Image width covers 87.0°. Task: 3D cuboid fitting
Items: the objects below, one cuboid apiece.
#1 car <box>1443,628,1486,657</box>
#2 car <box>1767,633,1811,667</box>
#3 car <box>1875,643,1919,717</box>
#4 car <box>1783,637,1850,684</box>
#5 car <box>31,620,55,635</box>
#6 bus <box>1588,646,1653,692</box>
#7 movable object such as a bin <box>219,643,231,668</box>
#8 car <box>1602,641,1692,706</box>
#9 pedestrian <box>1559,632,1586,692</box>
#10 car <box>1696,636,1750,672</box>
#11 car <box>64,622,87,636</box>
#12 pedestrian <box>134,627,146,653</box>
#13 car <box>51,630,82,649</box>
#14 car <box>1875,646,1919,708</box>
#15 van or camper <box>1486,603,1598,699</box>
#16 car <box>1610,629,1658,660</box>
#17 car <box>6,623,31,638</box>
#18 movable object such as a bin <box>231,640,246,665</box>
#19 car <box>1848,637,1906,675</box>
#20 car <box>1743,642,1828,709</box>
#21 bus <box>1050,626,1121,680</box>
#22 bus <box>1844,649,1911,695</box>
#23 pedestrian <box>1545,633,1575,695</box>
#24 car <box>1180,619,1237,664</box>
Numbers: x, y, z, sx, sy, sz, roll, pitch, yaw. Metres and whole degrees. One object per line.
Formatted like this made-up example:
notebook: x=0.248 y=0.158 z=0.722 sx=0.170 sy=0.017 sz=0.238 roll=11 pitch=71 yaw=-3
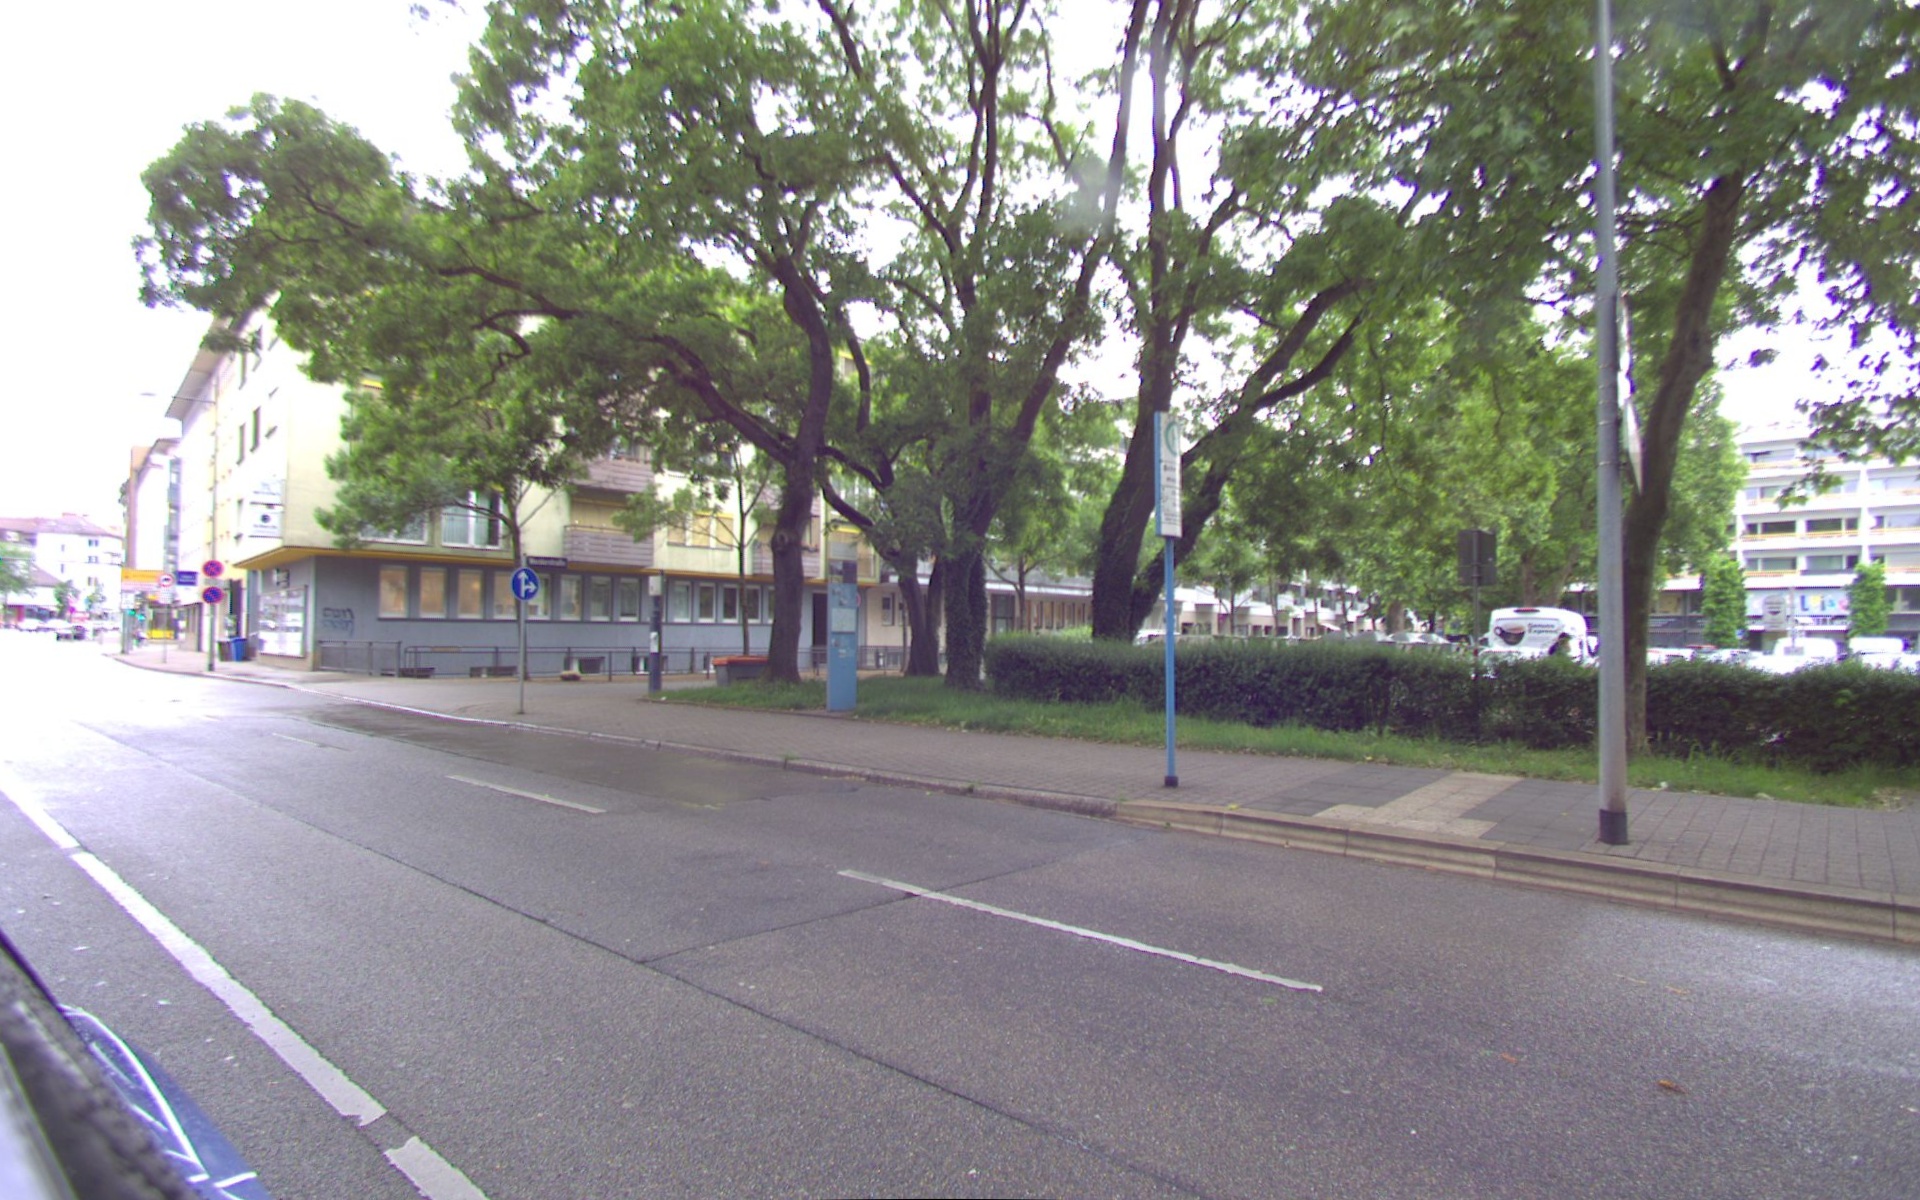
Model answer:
car: x=27.239 y=2.292 z=54.637 sx=1.428 sy=1.439 sz=2.926 roll=-2 pitch=-1 yaw=40
car: x=41.992 y=2.502 z=51.297 sx=1.639 sy=1.536 sz=3.161 roll=-1 pitch=0 yaw=38
car: x=19.936 y=1.635 z=20.940 sx=1.391 sy=1.446 sz=3.227 roll=-2 pitch=-4 yaw=41
car: x=28.181 y=1.964 z=33.348 sx=1.604 sy=1.439 sz=3.275 roll=-1 pitch=-3 yaw=40
car: x=-114.496 y=3.445 z=126.300 sx=4.002 sy=1.866 sz=1.971 roll=-2 pitch=-4 yaw=45
bus: x=24.163 y=2.493 z=36.969 sx=1.604 sy=1.551 sz=3.385 roll=-1 pitch=-3 yaw=40
movable object such as a bin: x=-30.310 y=2.284 z=41.757 sx=0.333 sy=1.037 sz=0.354 roll=3 pitch=-4 yaw=-42
car: x=16.740 y=1.754 z=24.616 sx=1.391 sy=1.446 sz=3.227 roll=-2 pitch=-4 yaw=41
pedestrian: x=12.847 y=1.291 z=21.228 sx=0.465 sy=1.222 sz=0.433 roll=-1 pitch=0 yaw=34
car: x=35.727 y=2.485 z=47.360 sx=1.837 sy=1.435 sz=3.780 roll=-1 pitch=0 yaw=39
car: x=-111.876 y=3.665 z=127.998 sx=4.002 sy=1.670 sz=1.842 roll=-2 pitch=-4 yaw=45
pedestrian: x=-58.744 y=2.846 z=72.486 sx=0.586 sy=1.858 sz=0.565 roll=3 pitch=-4 yaw=-42
car: x=-82.230 y=3.611 z=93.105 sx=4.002 sy=1.730 sz=1.863 roll=-2 pitch=-3 yaw=45
car: x=23.423 y=1.875 z=24.802 sx=1.391 sy=1.446 sz=3.227 roll=-2 pitch=-4 yaw=41
van or camper: x=16.853 y=1.449 z=29.207 sx=2.097 sy=2.556 sz=4.367 roll=-1 pitch=-3 yaw=40
car: x=32.472 y=2.158 z=48.727 sx=1.604 sy=1.439 sz=3.275 roll=-1 pitch=-3 yaw=40
car: x=-111.663 y=3.643 z=120.008 sx=4.002 sy=1.653 sz=1.971 roll=-2 pitch=-4 yaw=45
movable object such as a bin: x=-29.834 y=2.177 z=41.851 sx=0.409 sy=1.037 sz=0.354 roll=3 pitch=-4 yaw=-42
car: x=40.348 y=2.425 z=44.587 sx=1.639 sy=1.536 sz=3.160 roll=-1 pitch=-1 yaw=38
car: x=19.245 y=1.729 z=23.561 sx=1.391 sy=1.446 sz=3.227 roll=-2 pitch=-4 yaw=41
bus: x=4.844 y=2.008 z=38.682 sx=1.703 sy=1.939 sz=3.697 roll=0 pitch=-3 yaw=24
bus: x=33.164 y=2.574 z=36.653 sx=1.604 sy=1.551 sz=3.385 roll=-1 pitch=-3 yaw=40
pedestrian: x=12.085 y=1.283 z=20.388 sx=0.484 sy=1.222 sz=0.433 roll=-1 pitch=0 yaw=34
car: x=11.892 y=1.983 z=48.236 sx=1.988 sy=2.029 sz=3.967 roll=0 pitch=-3 yaw=24
